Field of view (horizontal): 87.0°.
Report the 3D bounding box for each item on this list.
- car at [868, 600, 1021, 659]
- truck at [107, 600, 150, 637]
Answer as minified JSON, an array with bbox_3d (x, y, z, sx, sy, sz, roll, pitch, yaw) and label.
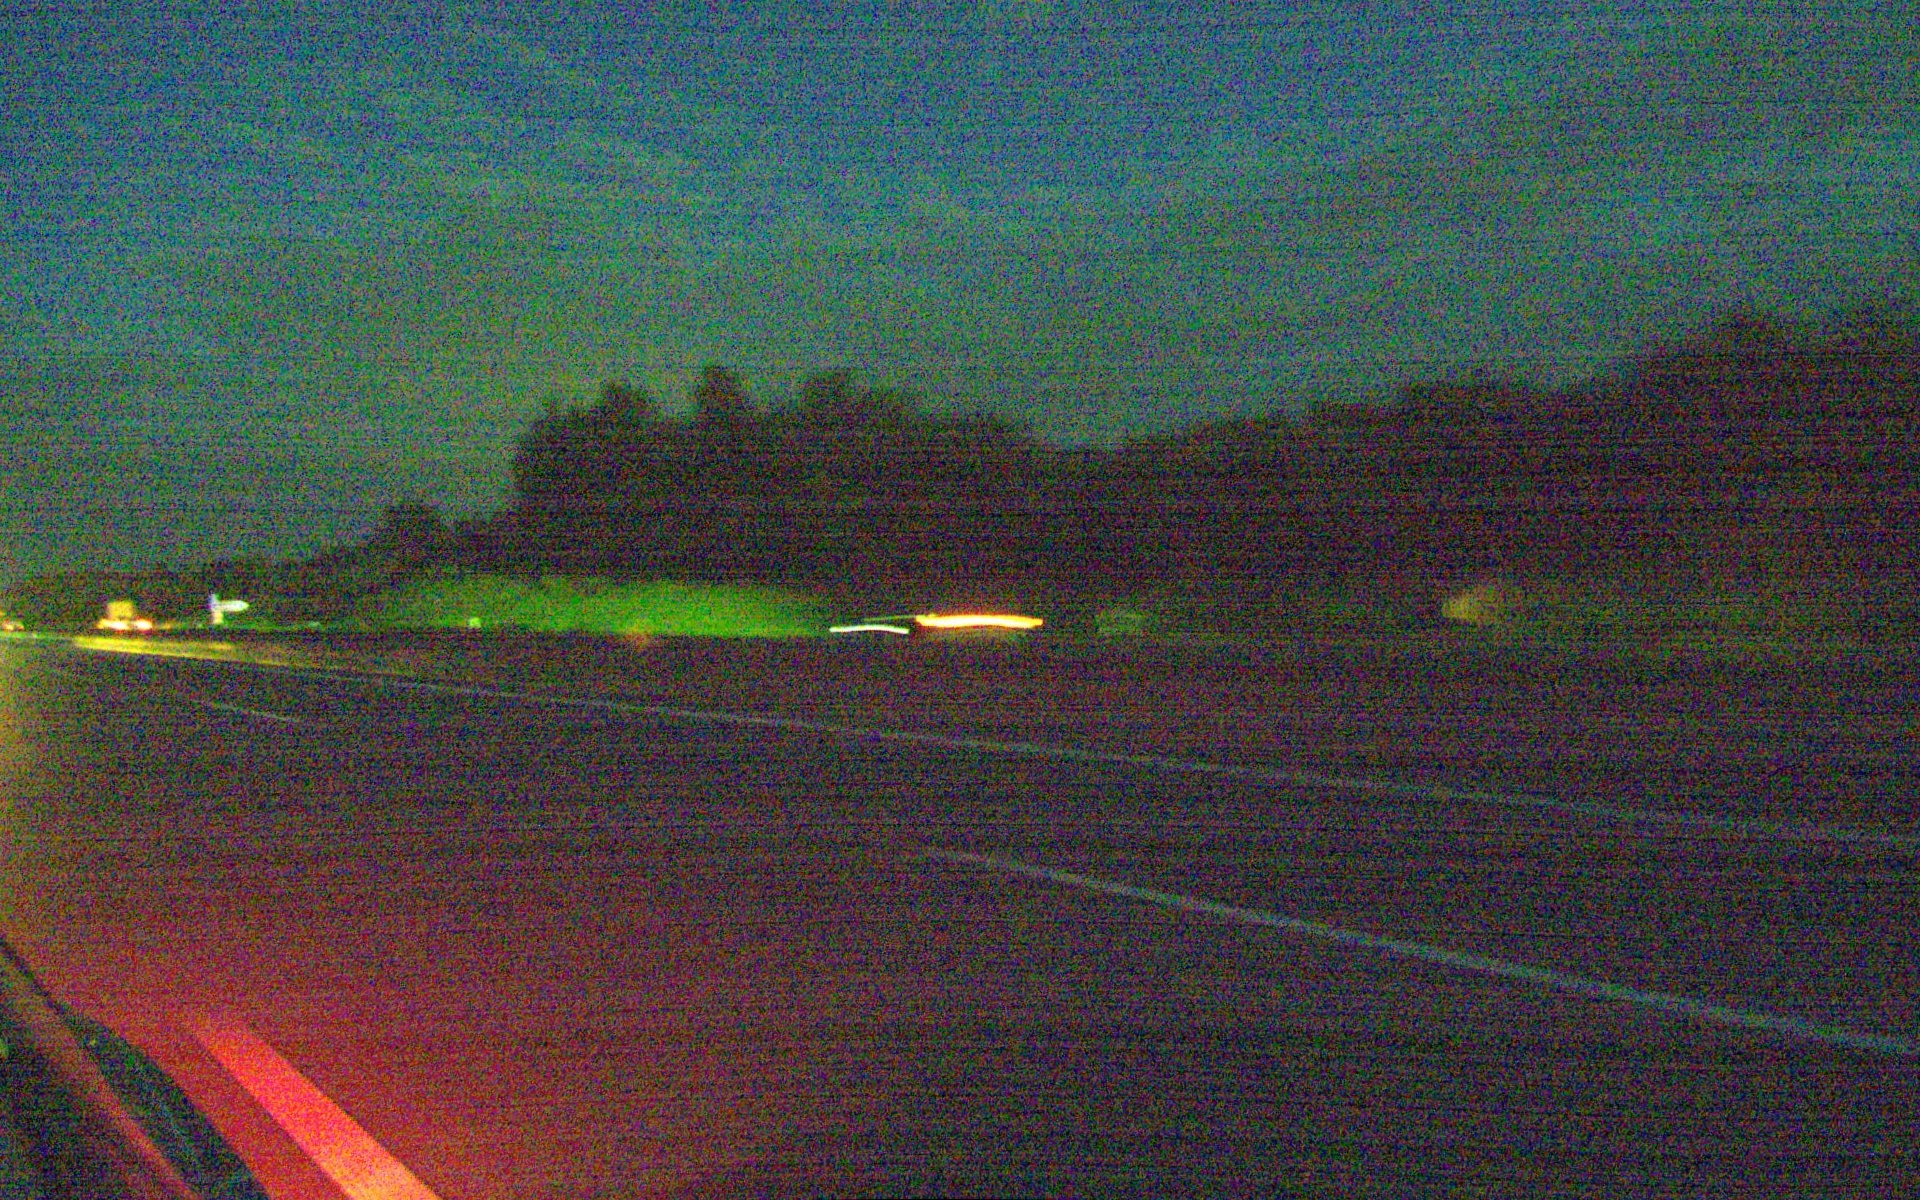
[{"bbox_3d":[-0.480,0.818,28.628,3.995,1.520,1.974,-1,0,39],"label":"car"},{"bbox_3d":[-91.067,2.060,110.786,9.065,3.881,2.492,-2,-1,43],"label":"truck"}]
